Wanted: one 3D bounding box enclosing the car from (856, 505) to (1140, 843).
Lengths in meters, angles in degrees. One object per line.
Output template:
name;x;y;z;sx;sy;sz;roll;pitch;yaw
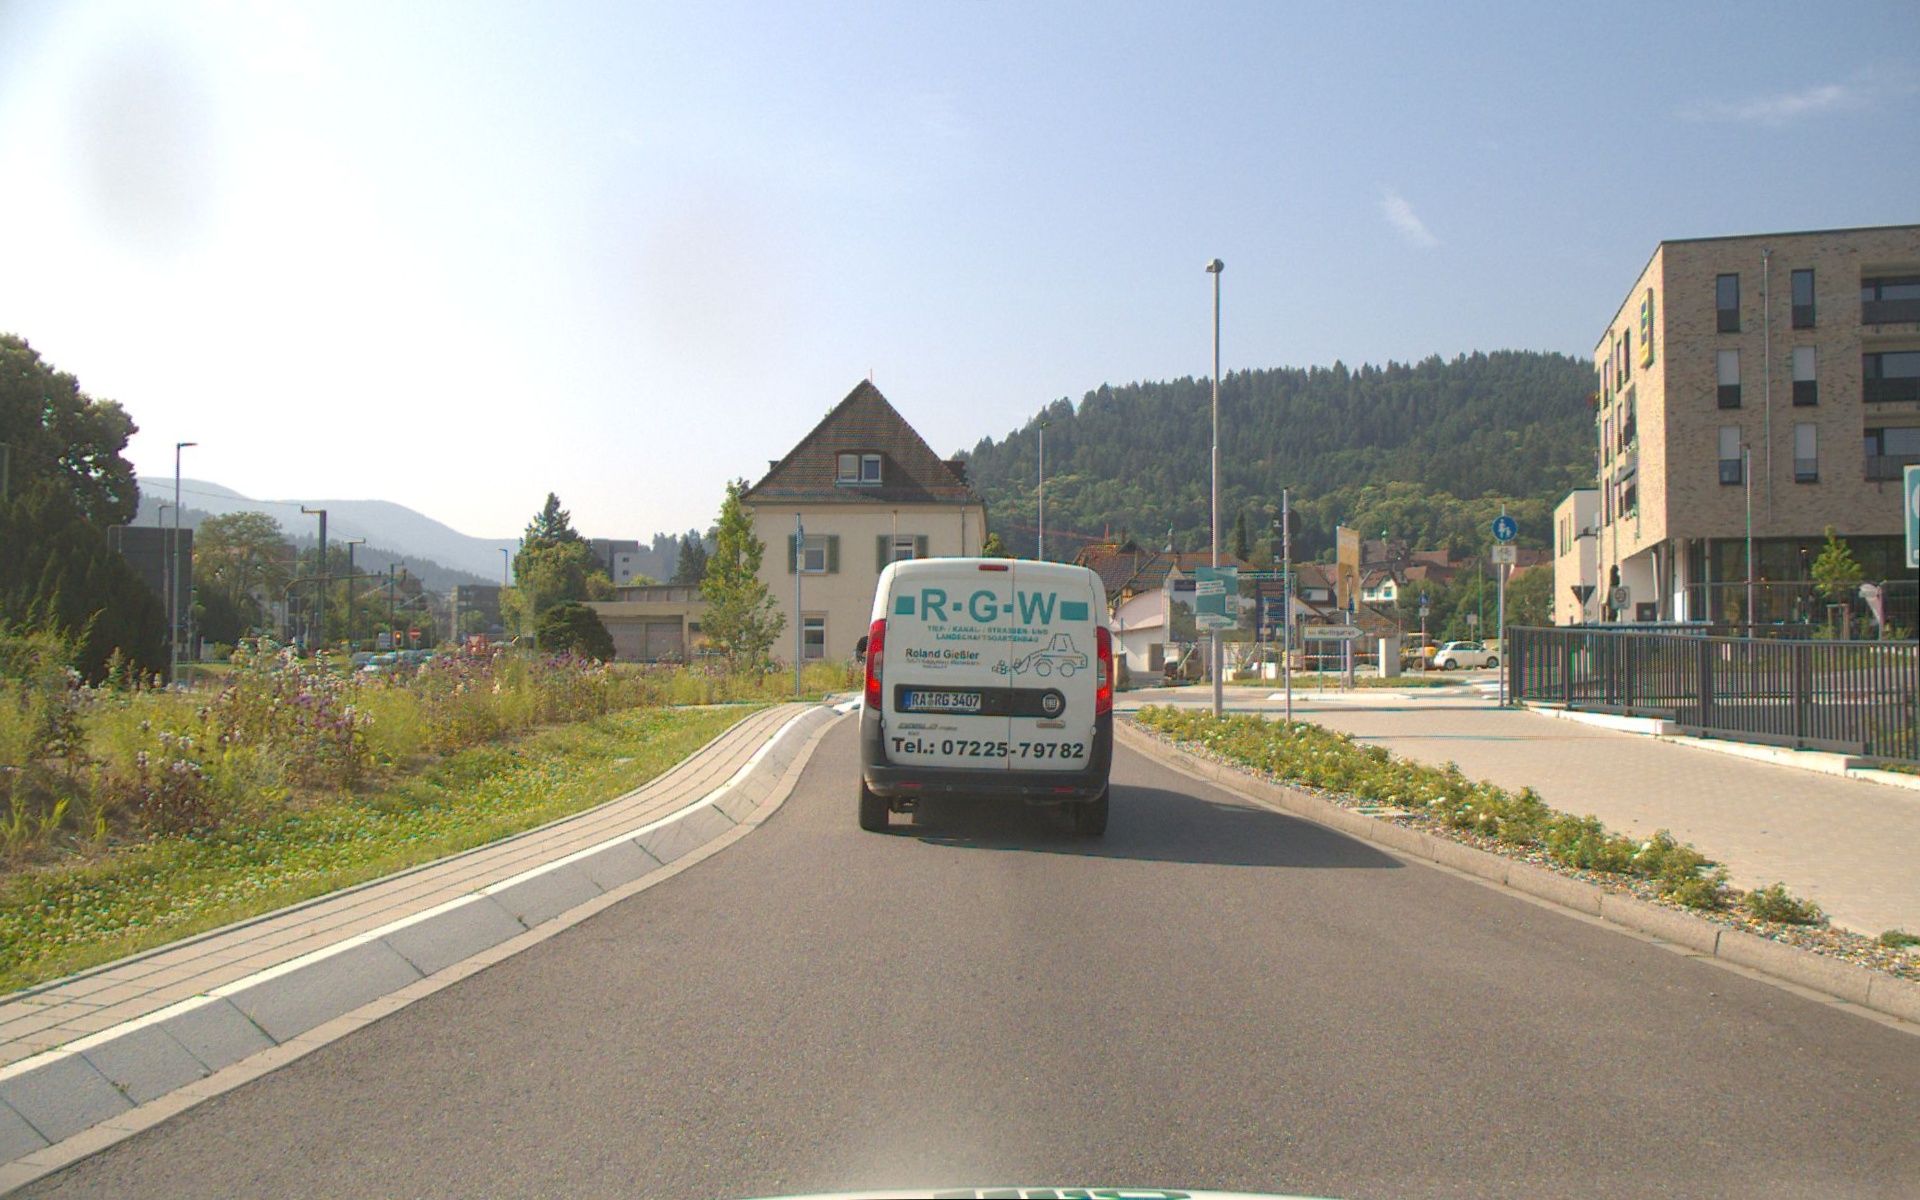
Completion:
car;0.187;0.504;12.905;1.769;2.114;4.602;2;-1;-2

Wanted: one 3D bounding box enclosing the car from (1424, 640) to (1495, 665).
car;26.885;2.808;89.013;3.402;1.326;1.469;0;-2;3

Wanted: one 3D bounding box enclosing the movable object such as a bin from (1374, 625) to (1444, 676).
movable object such as a bin;16.908;1.908;62.346;2.391;1.876;1.429;-1;-3;10

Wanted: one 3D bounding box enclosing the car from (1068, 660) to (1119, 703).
car;5.551;3.369;68.567;1.841;1.714;4.002;-1;-3;8

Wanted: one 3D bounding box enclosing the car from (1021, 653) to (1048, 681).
car;5.666;5.093;125.917;1.952;2.049;4.001;-1;-3;3

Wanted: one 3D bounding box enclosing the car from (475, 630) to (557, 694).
car;-15.002;2.063;56.072;1.773;2.049;3.999;-1;-1;-1

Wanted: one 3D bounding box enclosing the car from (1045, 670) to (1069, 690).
car;5.272;4.364;90.208;1.279;1.021;3.091;-1;-3;3
